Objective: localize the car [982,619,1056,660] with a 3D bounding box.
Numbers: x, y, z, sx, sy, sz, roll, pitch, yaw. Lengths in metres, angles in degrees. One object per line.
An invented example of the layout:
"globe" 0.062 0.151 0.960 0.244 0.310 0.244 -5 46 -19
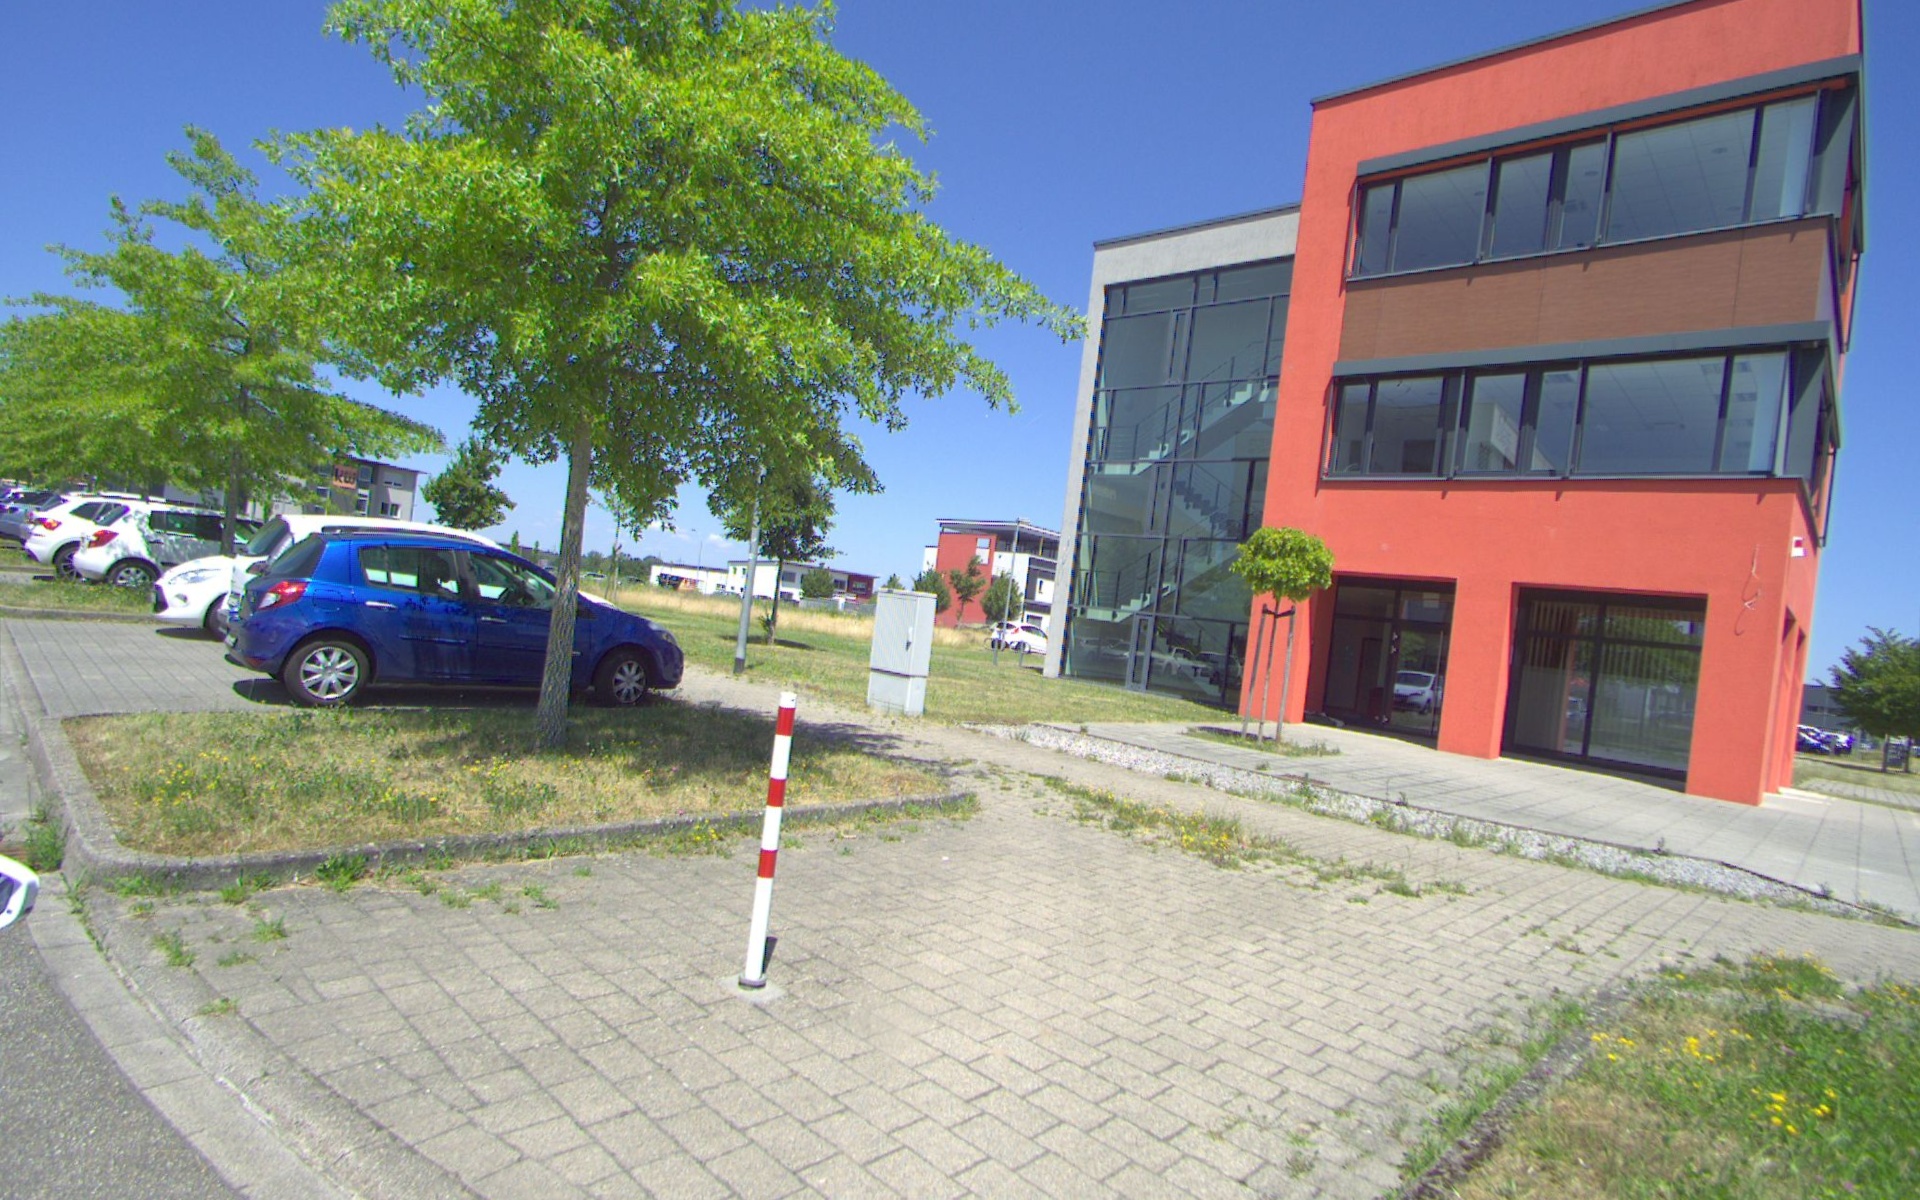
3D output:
"car" 2.859 1.906 48.168 1.696 1.528 3.316 6 -1 44

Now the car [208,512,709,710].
"car" -4.697 0.167 9.770 3.979 1.510 1.707 5 2 -43

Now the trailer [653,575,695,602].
"trailer" -33.778 -1.333 118.969 2.202 2.631 3.981 7 -1 42

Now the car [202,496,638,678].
"car" -6.112 -0.084 11.645 4.092 1.672 1.753 5 2 -42

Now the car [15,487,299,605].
"car" -14.579 -0.959 18.455 3.820 1.572 1.759 7 0 -41

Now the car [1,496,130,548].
"car" -33.621 -2.911 37.862 1.731 1.434 3.449 6 0 43

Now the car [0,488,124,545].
"car" -35.285 -3.247 39.266 1.759 1.699 3.866 6 0 44

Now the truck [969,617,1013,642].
"truck" 3.147 2.985 101.664 1.973 2.037 4.336 7 -1 43

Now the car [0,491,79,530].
"car" -51.703 -5.011 55.631 1.826 1.664 4.269 6 0 44

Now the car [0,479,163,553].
"car" -29.143 -2.737 33.035 1.772 1.852 4.391 6 0 44

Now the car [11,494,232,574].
"car" -20.899 -1.618 25.187 1.624 1.471 4.036 6 0 44

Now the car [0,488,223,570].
"car" -22.824 -1.869 26.840 1.886 1.580 4.710 6 0 40

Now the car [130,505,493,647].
"car" -8.310 -0.246 13.135 1.587 1.482 3.612 7 1 39

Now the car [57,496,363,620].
"car" -12.592 -0.665 17.044 1.756 1.542 3.827 7 -1 43

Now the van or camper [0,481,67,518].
"van or camper" -74.090 -7.984 79.522 1.973 2.189 4.929 6 -2 43

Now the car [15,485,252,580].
"car" -19.109 -1.526 23.382 1.671 1.645 4.036 6 0 44

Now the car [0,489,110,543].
"car" -37.437 -3.446 40.870 1.758 1.717 4.165 6 0 43
